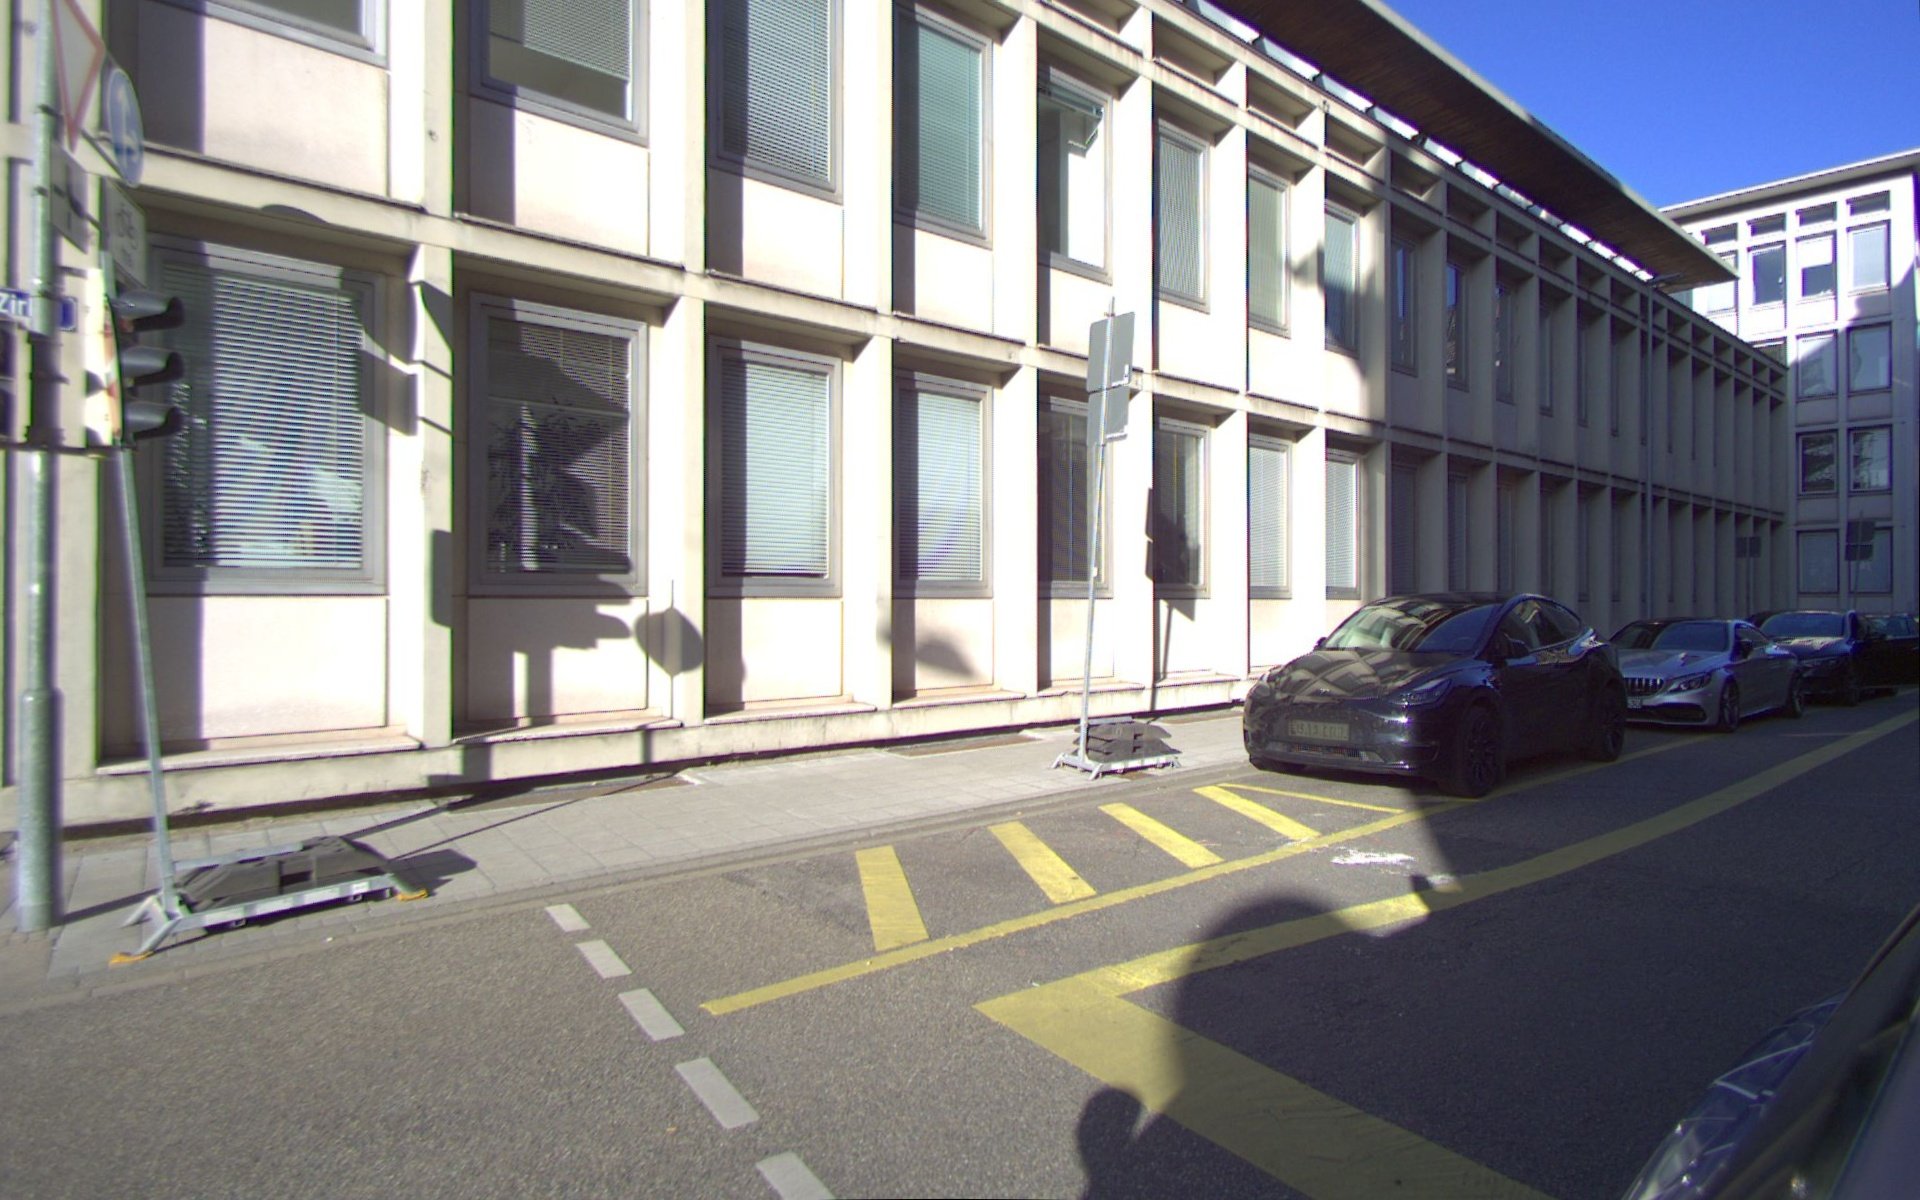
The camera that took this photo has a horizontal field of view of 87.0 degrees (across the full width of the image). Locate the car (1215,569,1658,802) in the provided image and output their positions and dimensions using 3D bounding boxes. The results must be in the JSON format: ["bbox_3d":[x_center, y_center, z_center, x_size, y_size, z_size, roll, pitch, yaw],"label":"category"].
[{"bbox_3d":[4.544,0.609,9.337,4.538,1.644,1.898,0,-1,-39],"label":"car"}]

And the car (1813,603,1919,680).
[{"bbox_3d":[18.887,0.784,20.698,3.819,1.417,1.630,0,-1,-41],"label":"car"}]

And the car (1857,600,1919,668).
[{"bbox_3d":[23.033,0.770,24.285,4.180,1.510,1.696,0,-1,-41],"label":"car"}]

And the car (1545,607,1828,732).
[{"bbox_3d":[9.625,0.789,13.279,4.512,1.361,1.701,0,-1,-36],"label":"car"}]

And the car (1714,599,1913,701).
[{"bbox_3d":[14.339,0.736,16.906,4.705,1.489,1.700,0,-1,-39],"label":"car"}]
